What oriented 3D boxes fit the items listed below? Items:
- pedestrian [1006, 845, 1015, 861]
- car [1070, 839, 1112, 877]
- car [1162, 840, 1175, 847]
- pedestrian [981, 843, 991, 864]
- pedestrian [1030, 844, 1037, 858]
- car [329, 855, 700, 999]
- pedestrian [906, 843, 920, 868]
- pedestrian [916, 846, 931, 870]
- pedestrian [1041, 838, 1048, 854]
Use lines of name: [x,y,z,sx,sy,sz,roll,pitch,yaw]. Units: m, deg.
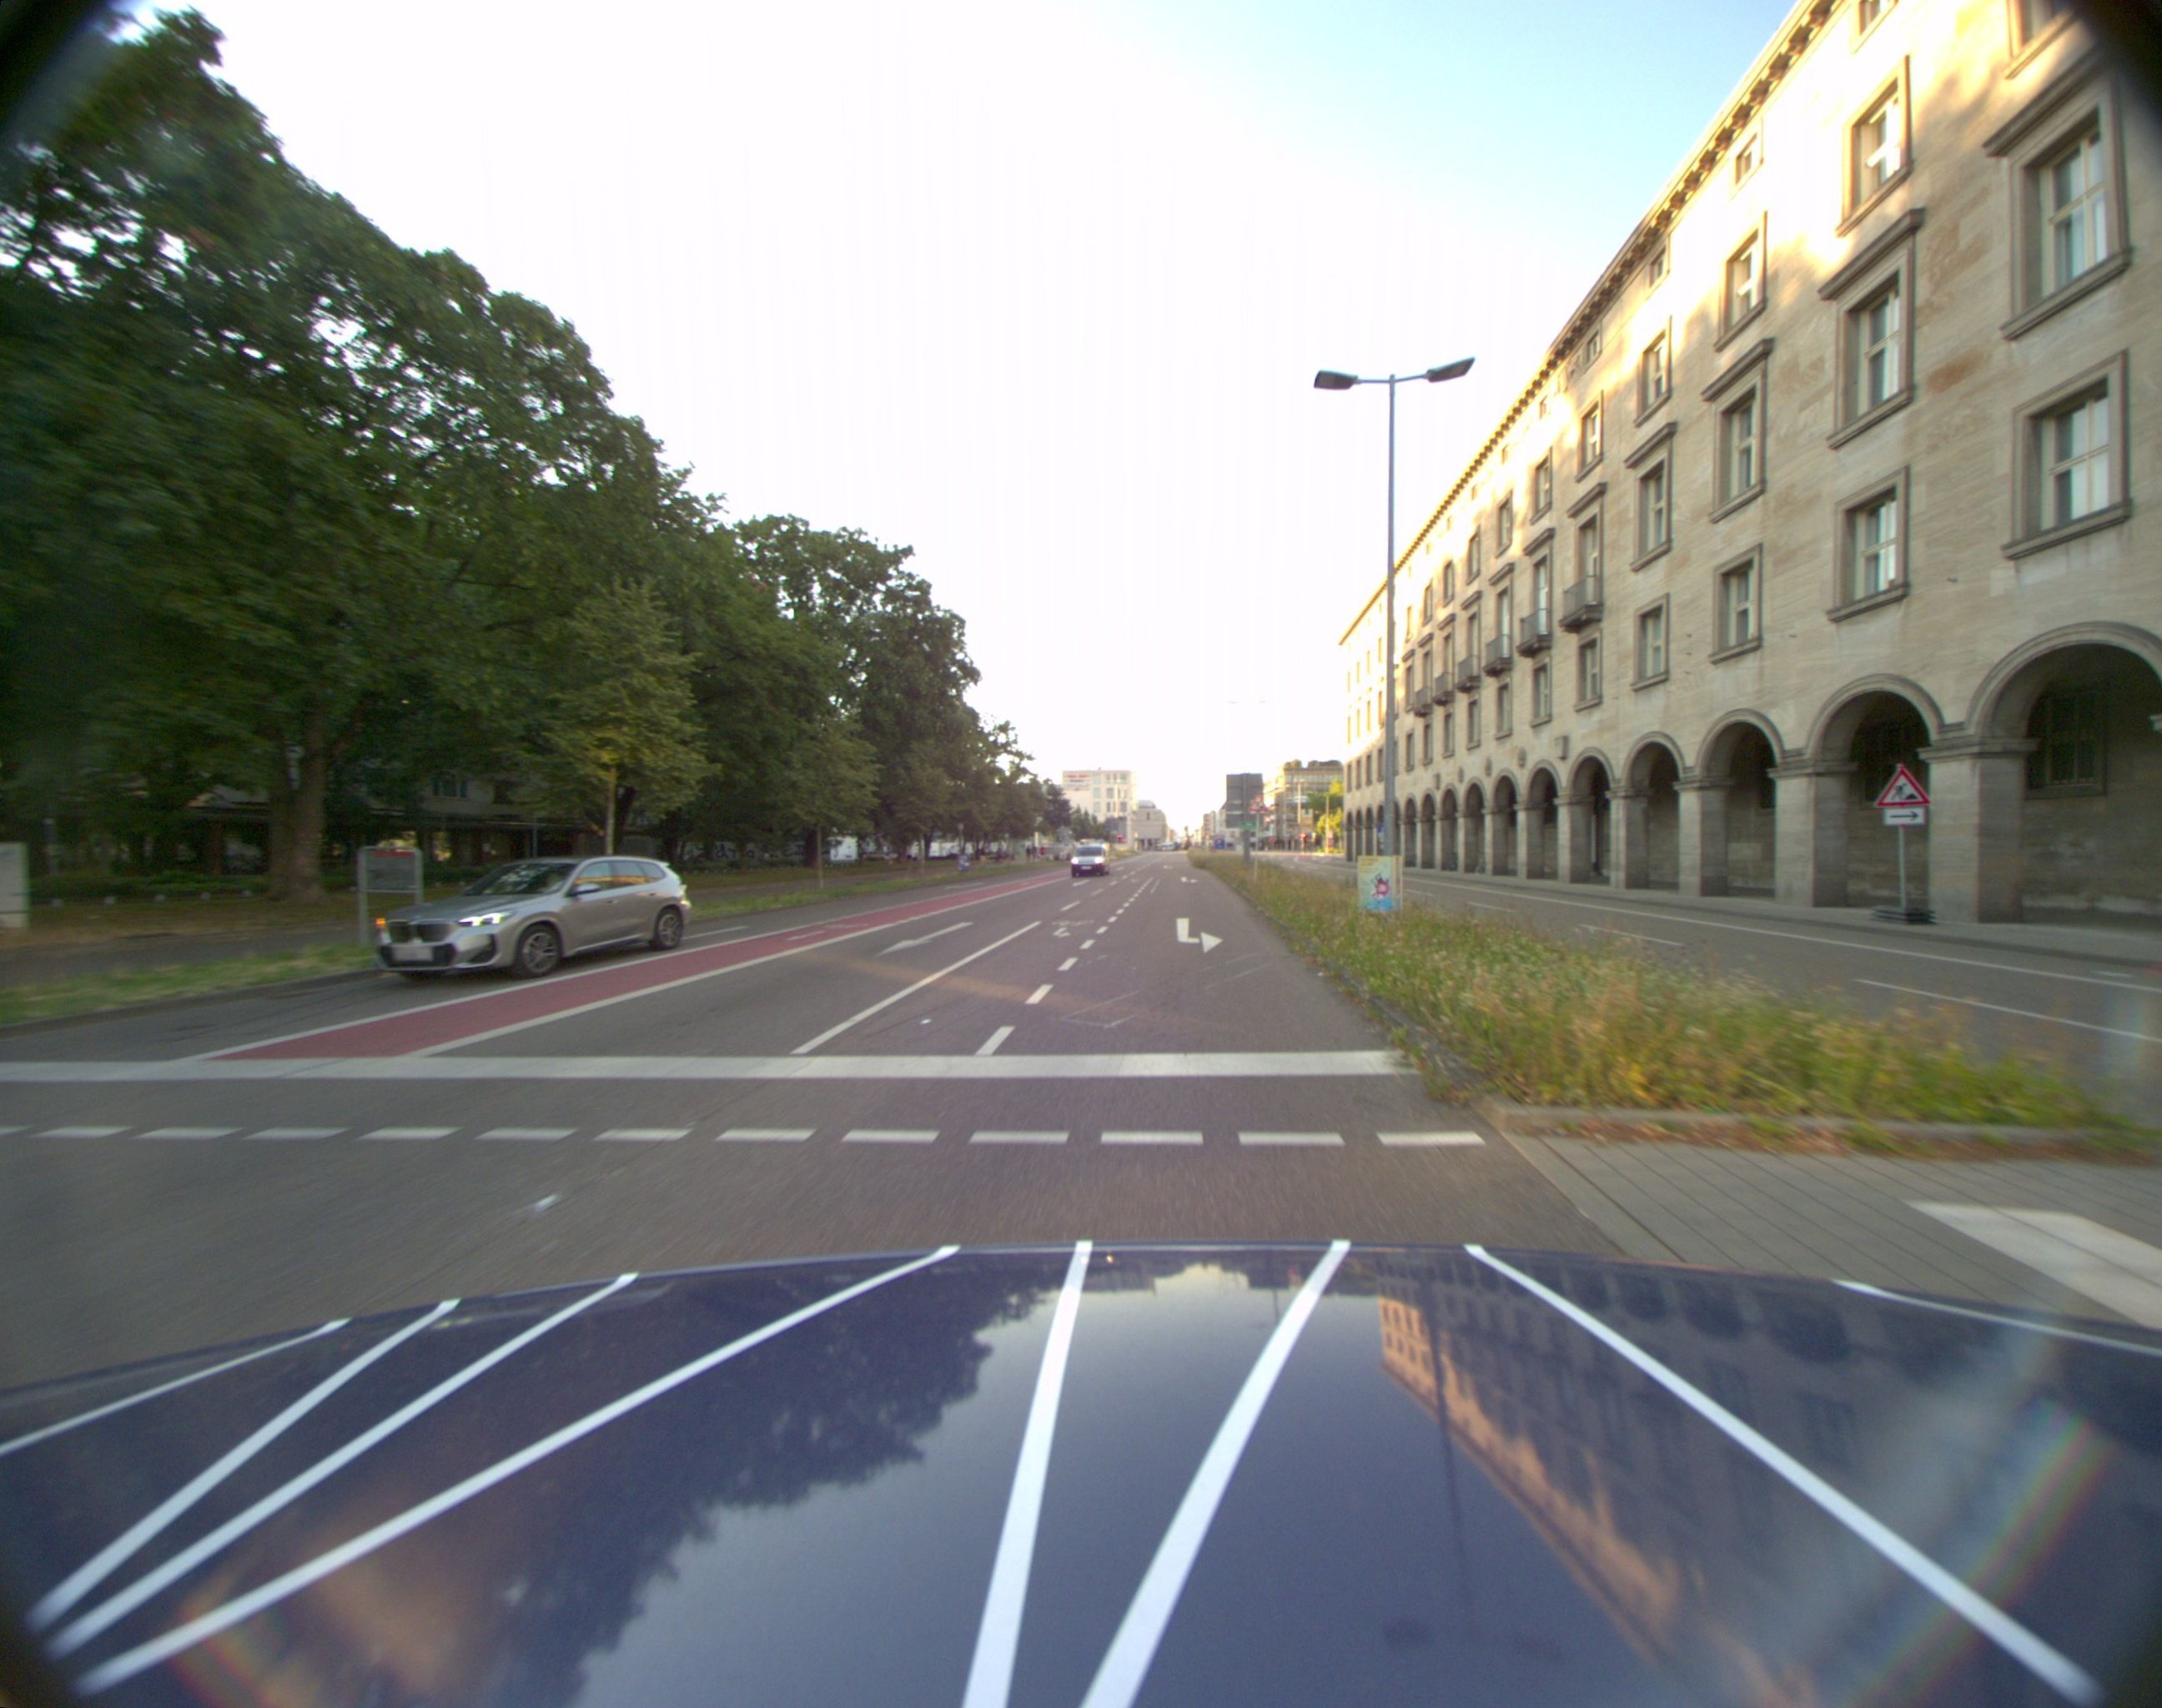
pedestrian: [-6.309,-0.114,68.377,0.631,1.455,0.646,0,1,10]
car: [0.587,0.168,40.977,1.803,1.900,4.467,0,1,7]
car: [26.009,-3.085,225.129,1.995,2.001,4.008,-5,-2,34]
pedestrian: [-7.493,-0.037,59.971,0.631,1.653,0.646,0,1,12]
pedestrian: [-4.638,-0.279,73.872,0.632,1.387,0.645,0,1,-5]
car: [-7.892,0.865,11.258,1.884,1.654,4.347,0,1,7]
pedestrian: [-10.624,0.080,48.003,0.645,1.585,0.678,0,1,11]
pedestrian: [-9.913,0.272,47.847,0.676,1.488,0.646,0,1,9]
pedestrian: [-3.949,-0.886,82.126,0.632,1.656,0.645,0,1,-5]
